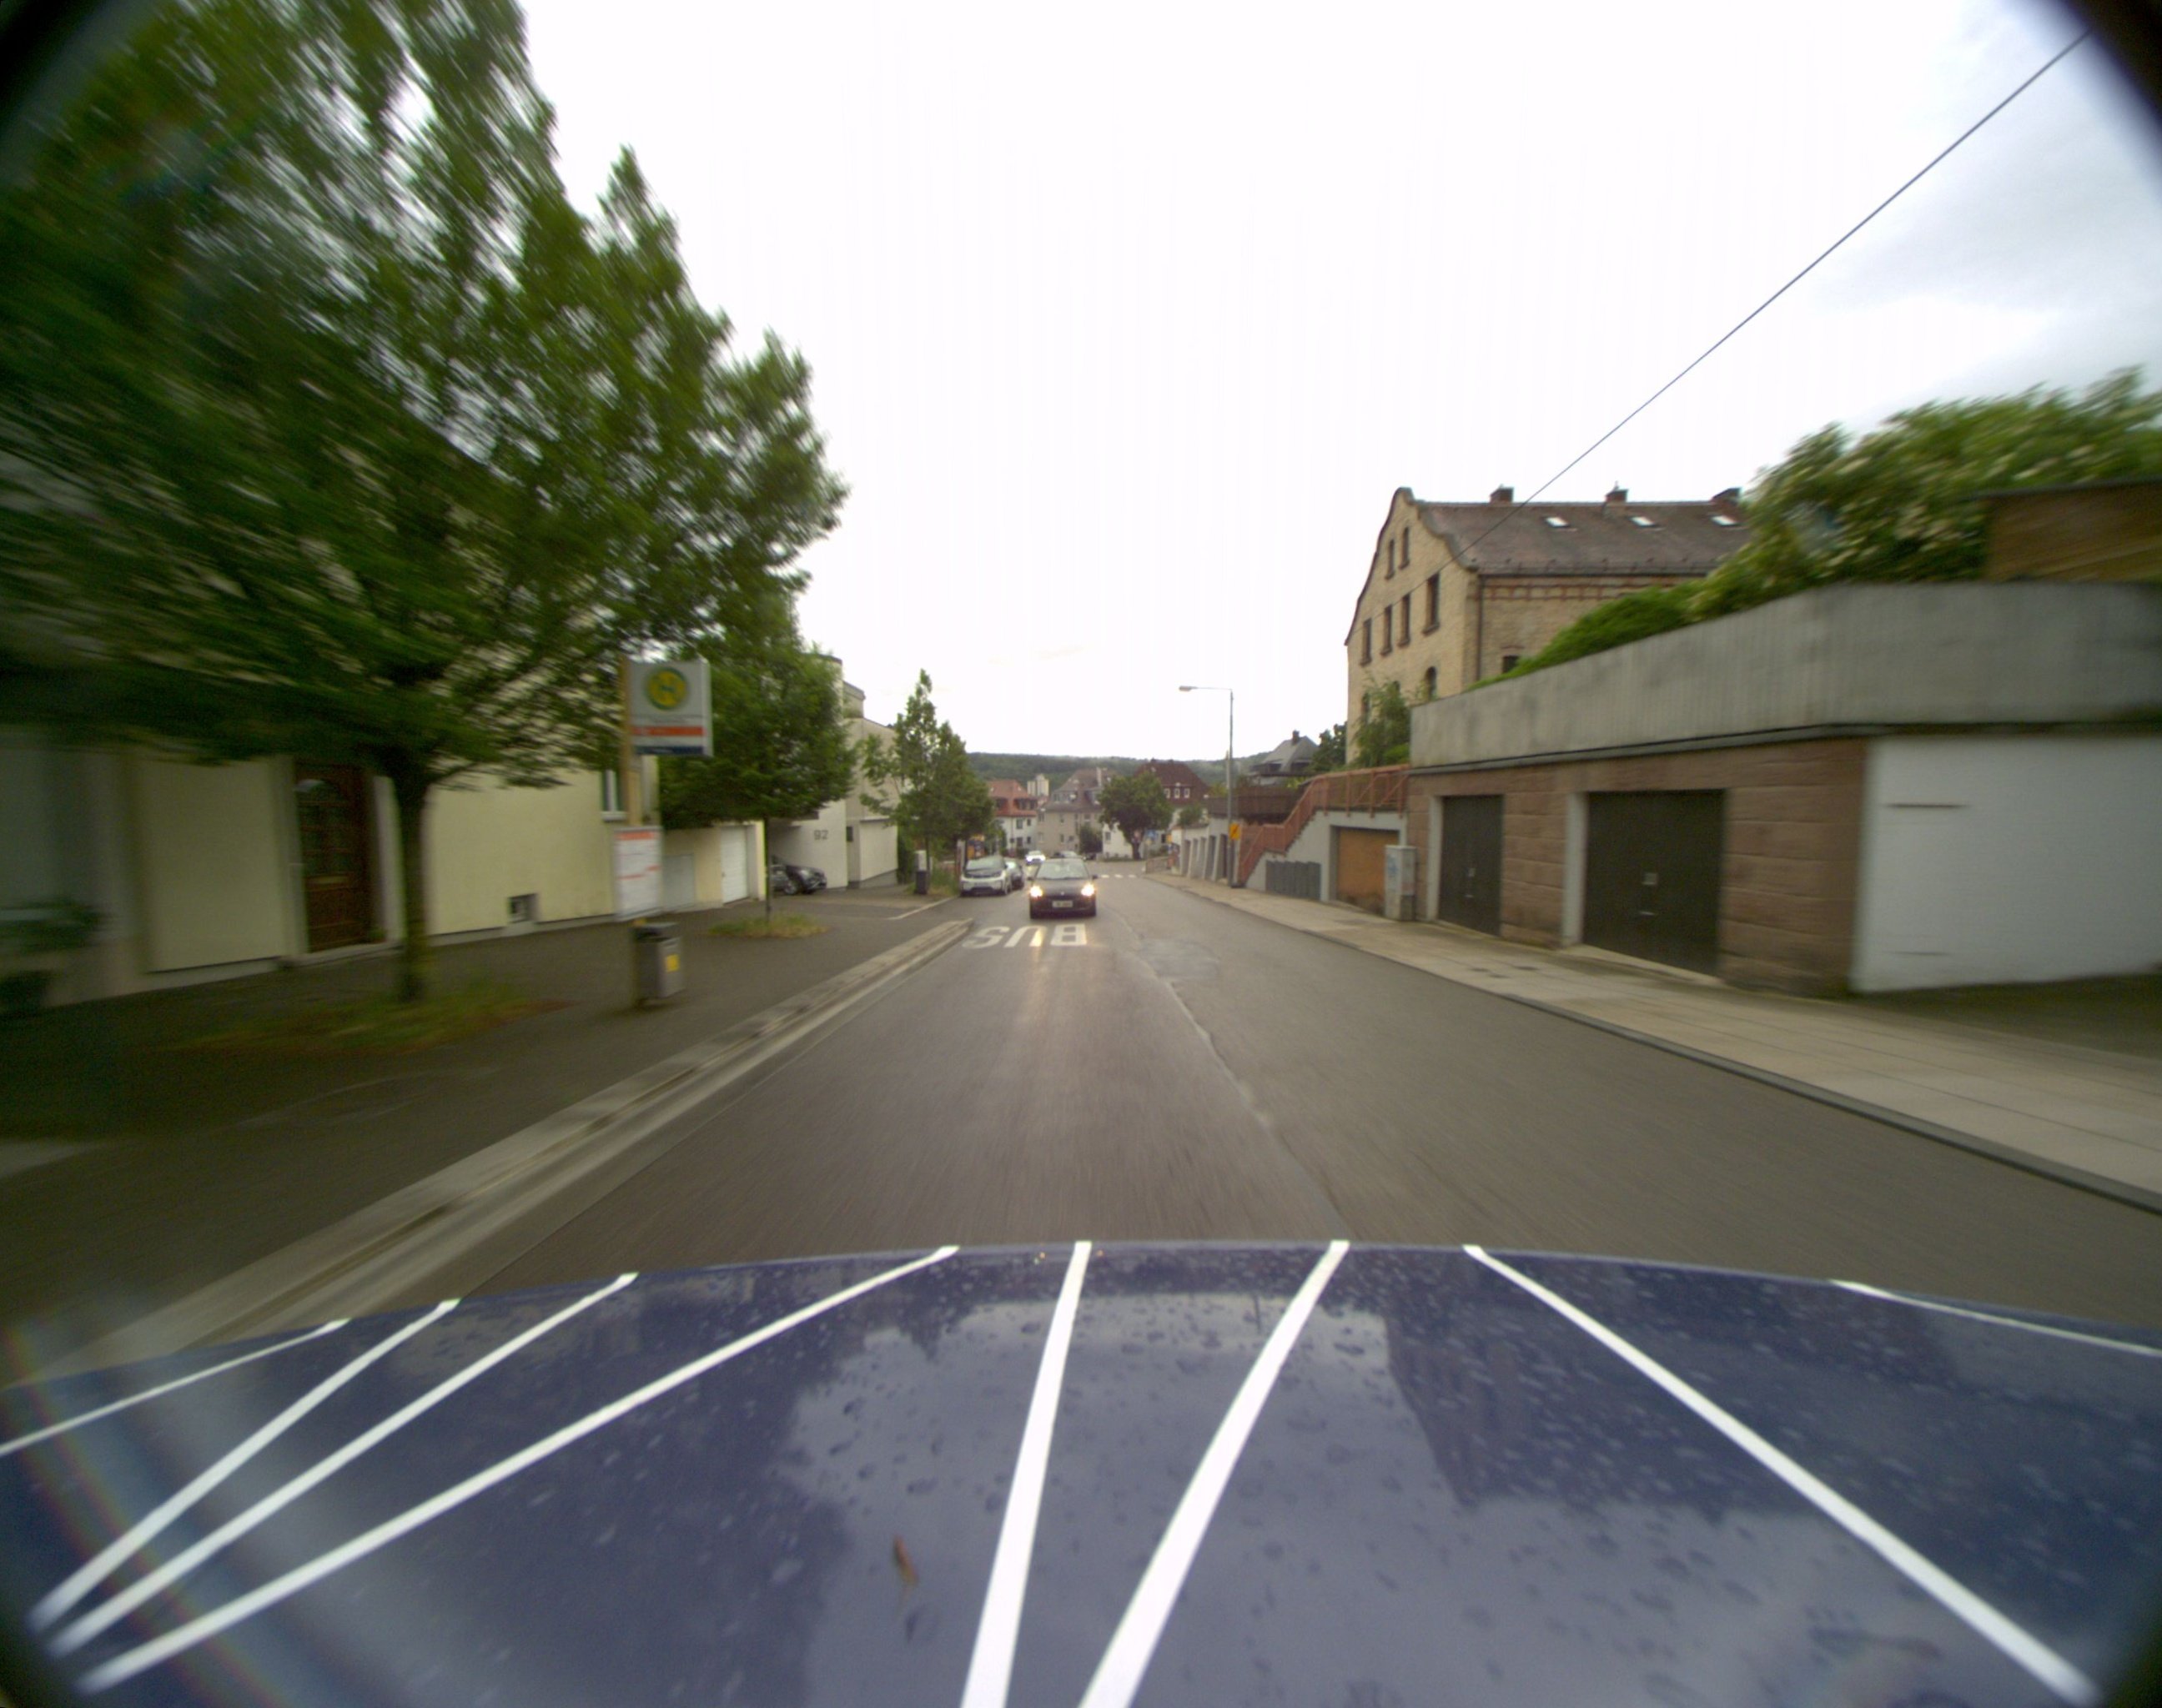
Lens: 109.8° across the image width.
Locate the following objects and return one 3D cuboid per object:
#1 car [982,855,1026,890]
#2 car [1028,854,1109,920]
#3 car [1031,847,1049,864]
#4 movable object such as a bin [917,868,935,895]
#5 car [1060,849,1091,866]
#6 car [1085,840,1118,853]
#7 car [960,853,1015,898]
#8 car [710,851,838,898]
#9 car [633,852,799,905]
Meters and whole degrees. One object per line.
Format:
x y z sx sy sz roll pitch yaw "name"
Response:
-3.607 0.827 36.223 1.784 1.430 4.879 -2 1 -3 "car"
-0.310 0.799 20.322 1.892 1.521 4.056 -2 0 0 "car"
-4.765 0.149 87.325 2.016 1.892 4.092 -2 1 -4 "car"
-5.859 1.036 28.714 0.486 0.969 0.604 3 1 6 "movable object such as a bin"
-0.546 0.325 74.051 1.860 1.576 3.994 -2 1 -17 "car"
2.946 -1.075 108.442 4.226 1.663 1.874 -2 1 -22 "car"
-3.688 0.802 30.641 1.734 1.598 4.118 -3 1 -1 "car"
-10.631 0.678 26.487 3.709 1.498 1.782 -1 0 1 "car"
-11.430 0.746 24.014 4.308 1.471 1.830 -2 0 1 "car"
